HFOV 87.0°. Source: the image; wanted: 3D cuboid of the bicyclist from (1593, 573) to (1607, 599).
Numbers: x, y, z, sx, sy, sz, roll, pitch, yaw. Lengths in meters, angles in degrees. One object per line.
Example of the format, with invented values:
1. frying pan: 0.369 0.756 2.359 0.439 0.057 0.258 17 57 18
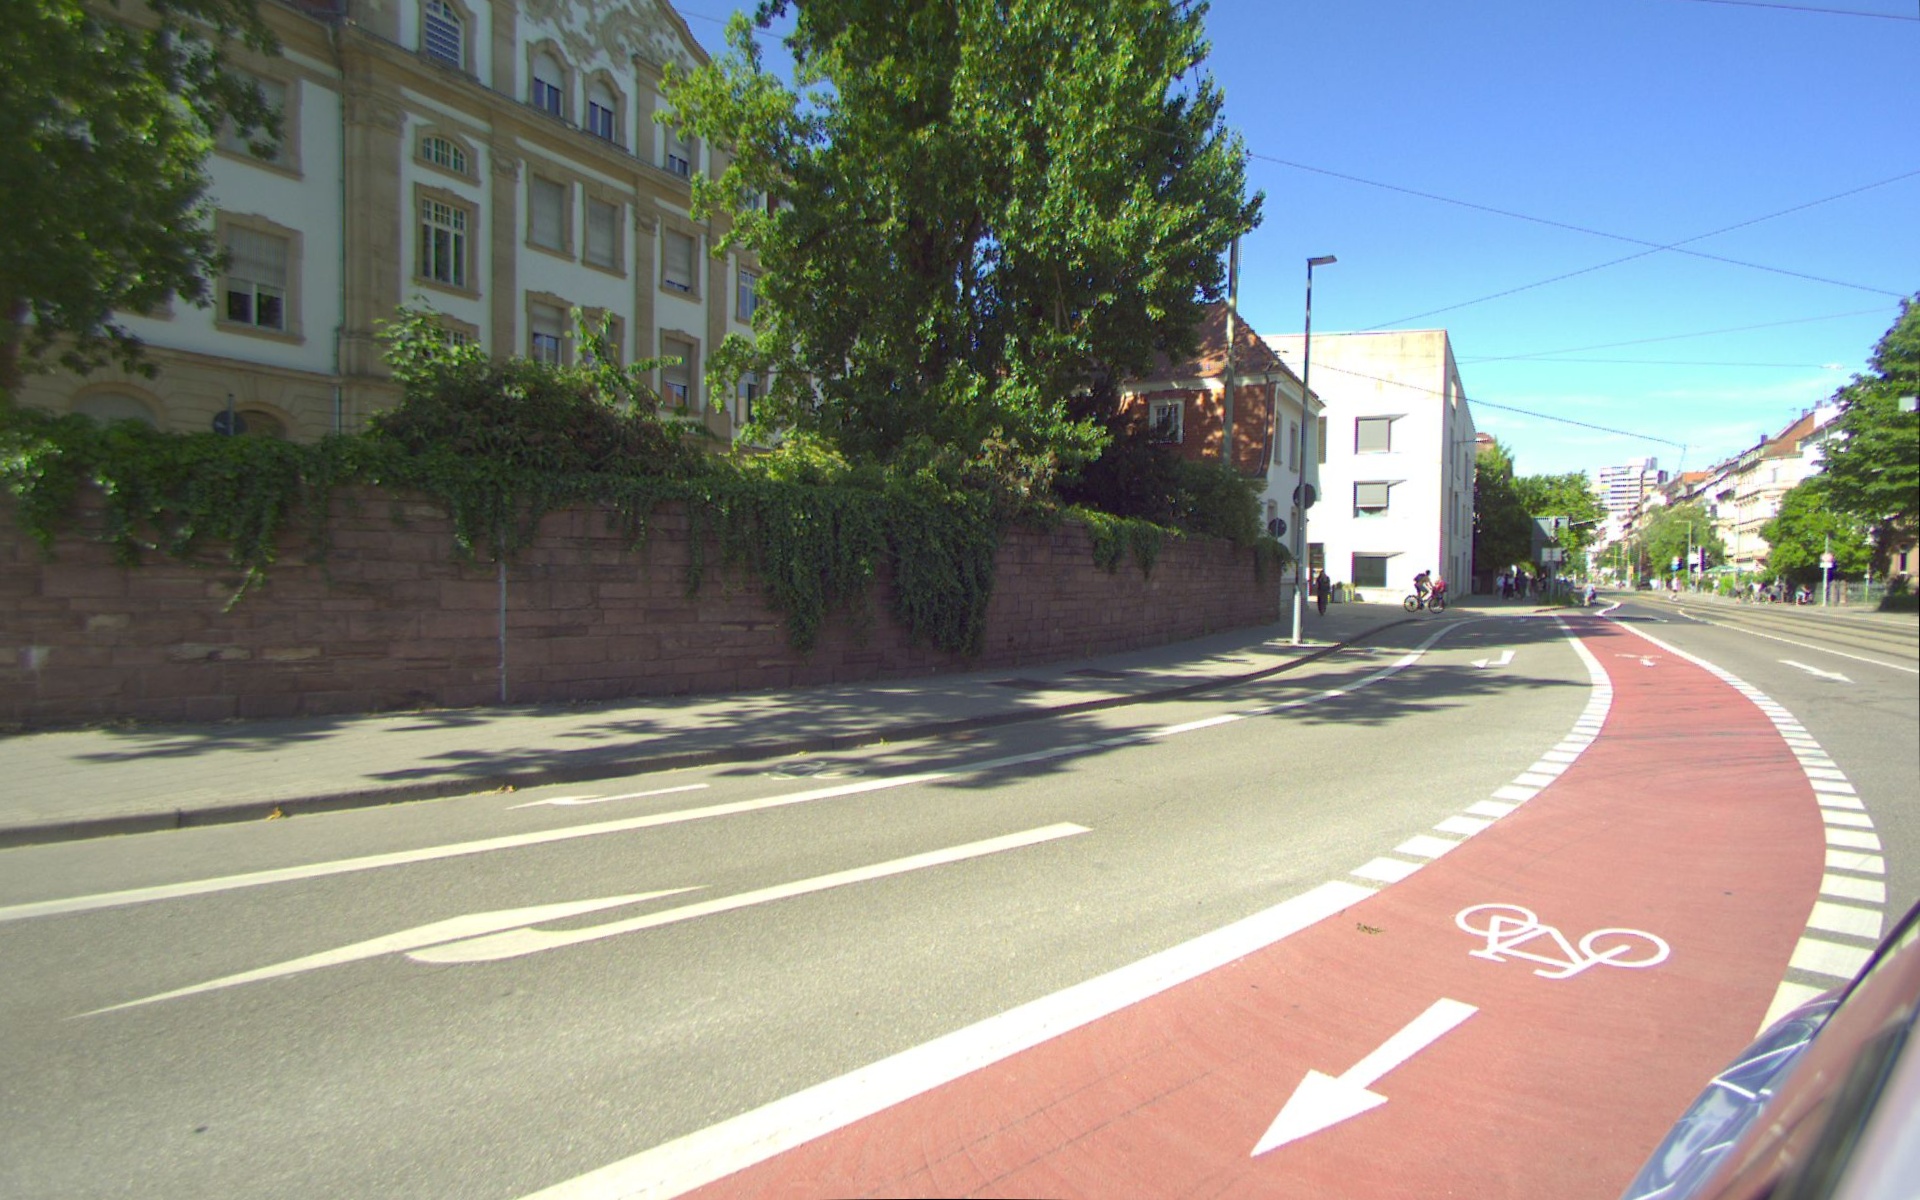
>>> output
1. bicyclist: 36.820 -0.785 58.220 0.661 1.479 0.615 0 2 35

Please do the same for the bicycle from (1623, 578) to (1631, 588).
1. bicycle: 113.897 -2.927 172.831 0.995 1.702 2.953 0 2 31

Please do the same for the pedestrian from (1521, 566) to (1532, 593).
1. pedestrian: 38.787 -1.385 69.306 0.583 1.828 0.540 1 1 30

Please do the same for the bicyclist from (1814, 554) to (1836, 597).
1. bicyclist: 60.642 -1.727 70.945 1.449 3.012 1.002 -2 2 -43

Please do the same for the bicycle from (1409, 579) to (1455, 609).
1. bicycle: 20.290 -0.270 43.565 1.575 1.165 0.742 5 3 13

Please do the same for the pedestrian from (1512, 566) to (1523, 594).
1. pedestrian: 36.828 -1.305 66.872 0.583 1.828 0.540 1 1 30

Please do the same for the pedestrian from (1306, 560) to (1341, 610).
1. pedestrian: 13.037 -0.558 36.288 0.932 1.698 0.945 4 4 29

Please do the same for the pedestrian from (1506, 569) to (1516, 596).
1. pedestrian: 38.007 -1.194 69.801 0.583 1.828 0.540 1 1 30

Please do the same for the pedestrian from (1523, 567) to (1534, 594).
1. pedestrian: 38.185 -1.315 68.005 0.583 1.828 0.577 1 1 30

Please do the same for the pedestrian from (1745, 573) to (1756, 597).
1. pedestrian: 62.816 -1.231 80.450 0.574 1.879 0.677 2 2 31

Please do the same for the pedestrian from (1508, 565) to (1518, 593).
1. pedestrian: 37.327 -1.428 68.303 0.583 1.828 0.577 1 1 30

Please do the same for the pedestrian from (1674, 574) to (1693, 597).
1. pedestrian: 55.754 -1.139 77.987 0.917 1.759 0.676 1 1 12

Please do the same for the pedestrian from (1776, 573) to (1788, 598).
1. pedestrian: 62.618 -1.111 77.131 0.574 1.879 0.677 2 2 31

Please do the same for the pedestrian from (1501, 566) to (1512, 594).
1. pedestrian: 36.347 -1.313 67.334 0.583 1.828 0.540 1 1 30

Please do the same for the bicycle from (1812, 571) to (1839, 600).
1. bicycle: 60.942 -1.052 71.230 3.829 1.910 1.002 -3 2 -43

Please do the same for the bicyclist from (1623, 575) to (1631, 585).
1. bicyclist: 113.885 -3.371 172.819 0.995 1.743 0.974 0 2 31

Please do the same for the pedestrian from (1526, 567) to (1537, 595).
1. pedestrian: 37.495 -1.271 66.415 0.583 1.828 0.515 1 1 30

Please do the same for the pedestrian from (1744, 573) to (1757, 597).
1. pedestrian: 62.964 -1.210 80.588 0.724 1.879 0.646 2 2 33

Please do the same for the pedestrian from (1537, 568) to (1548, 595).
1. pedestrian: 38.234 -1.236 66.405 0.583 1.749 0.515 1 1 30

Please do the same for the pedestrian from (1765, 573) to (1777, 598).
1. pedestrian: 62.036 -1.112 77.449 0.574 1.879 0.677 2 2 31

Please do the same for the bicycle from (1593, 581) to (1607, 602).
1. bicycle: 36.834 -0.486 58.242 0.661 1.166 1.652 0 2 34

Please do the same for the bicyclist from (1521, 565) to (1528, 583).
1. bicyclist: 73.279 -3.381 131.360 0.807 2.234 0.973 0 2 32

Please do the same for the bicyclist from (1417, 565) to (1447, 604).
1. bicyclist: 20.305 -0.657 43.549 0.866 1.602 0.742 4 2 12

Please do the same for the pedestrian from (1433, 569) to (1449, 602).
1. pedestrian: 23.458 -0.692 49.332 0.511 1.586 0.533 1 1 8

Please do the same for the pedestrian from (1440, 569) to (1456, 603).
1. pedestrian: 23.509 -0.673 48.738 0.511 1.586 0.533 1 1 8
